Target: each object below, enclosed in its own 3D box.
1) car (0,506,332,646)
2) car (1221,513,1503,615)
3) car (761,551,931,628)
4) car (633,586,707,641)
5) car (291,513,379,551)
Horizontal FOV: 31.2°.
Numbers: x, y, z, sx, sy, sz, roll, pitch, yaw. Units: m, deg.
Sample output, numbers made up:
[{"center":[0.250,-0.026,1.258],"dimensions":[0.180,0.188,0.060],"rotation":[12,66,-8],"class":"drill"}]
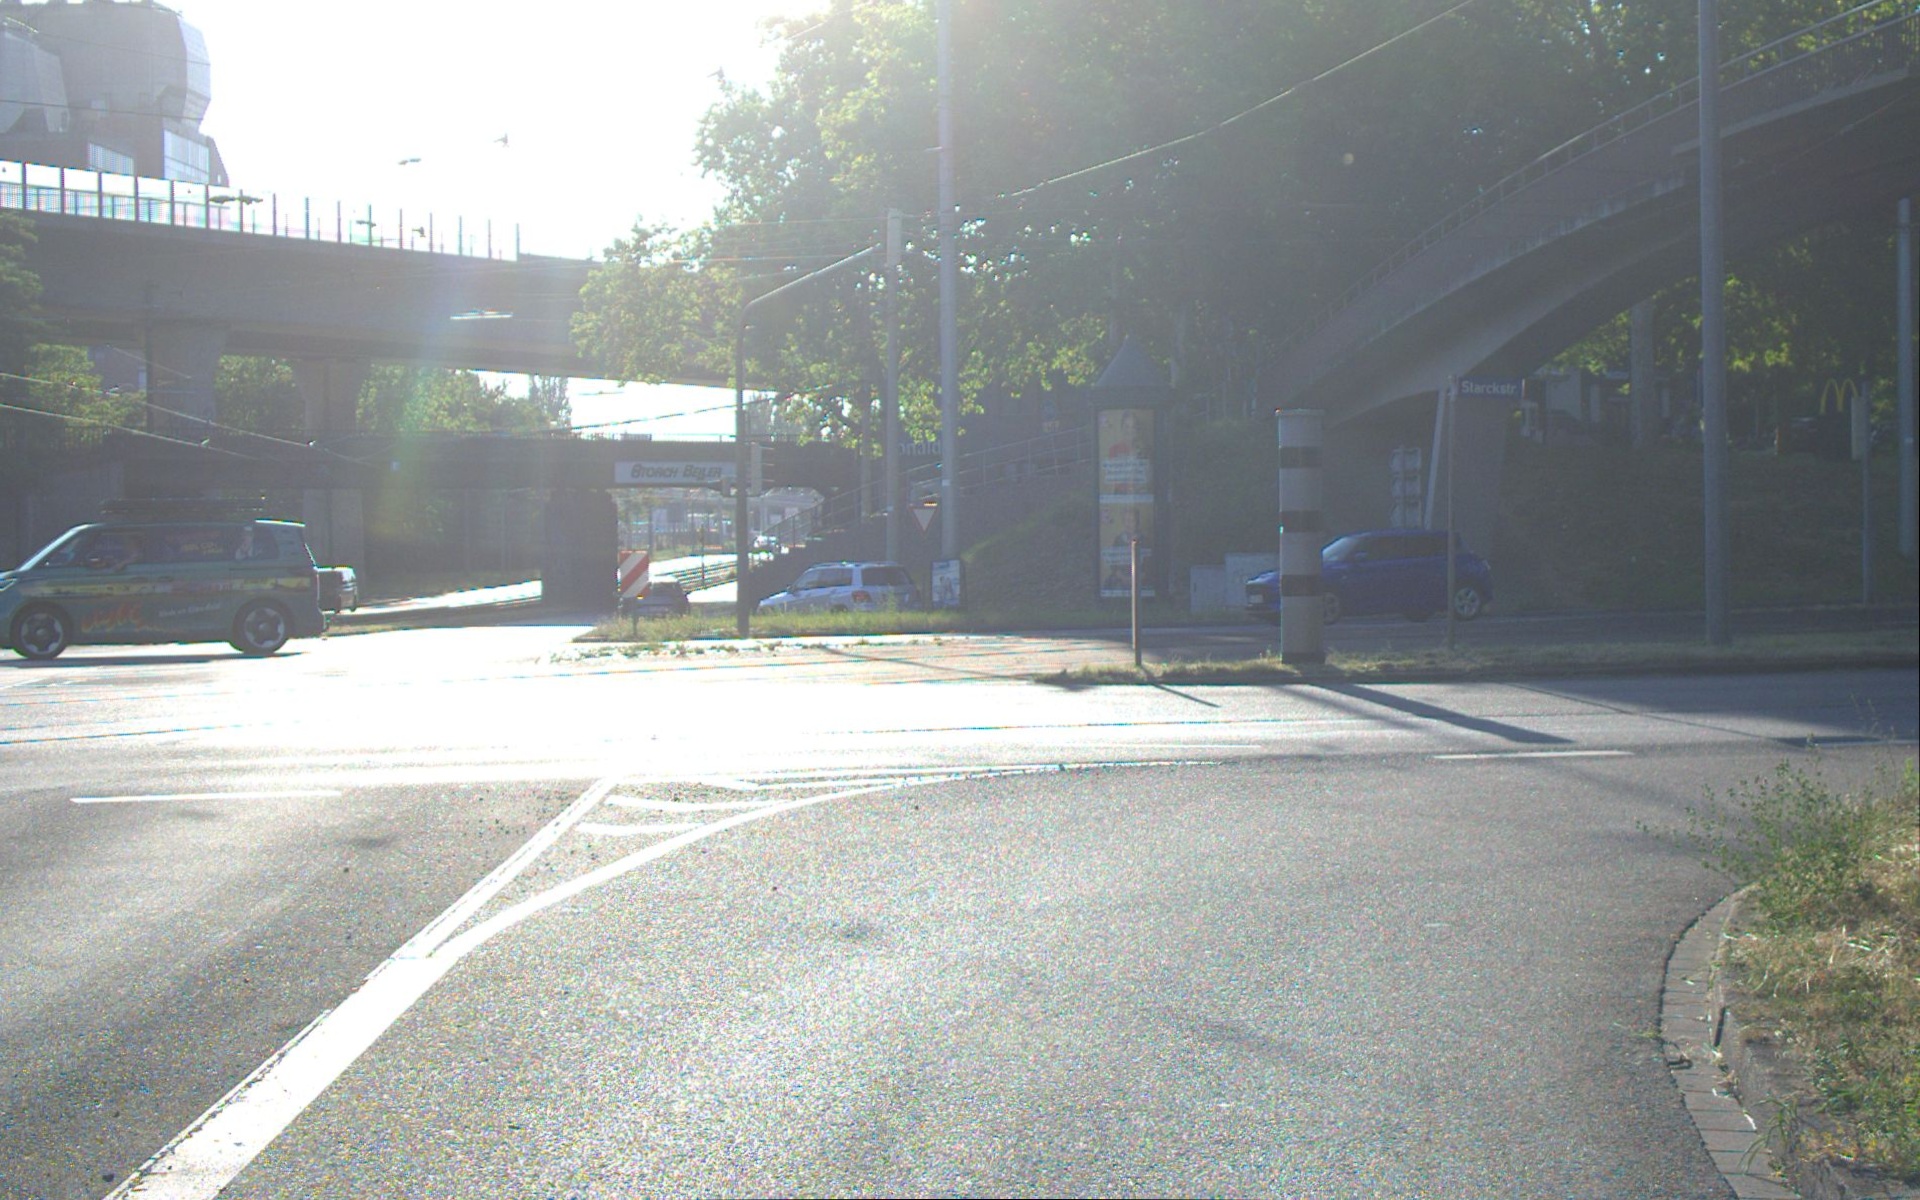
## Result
[{"center":[-11.281,-0.345,48.008],"dimensions":[4.688,1.899,2.001],"rotation":[0,1,-19],"class":"car"},{"center":[6.324,-0.568,54.132],"dimensions":[3.921,1.553,2.001],"rotation":[0,1,-22],"class":"car"},{"center":[-2.566,-0.257,76.305],"dimensions":[1.711,1.647,4.218],"rotation":[0,1,-36],"class":"car"},{"center":[-7.908,0.344,93.900],"dimensions":[1.691,1.417,4.151],"rotation":[0,1,0],"class":"car"},{"center":[-30.081,-3.283,165.570],"dimensions":[1.997,1.765,3.993],"rotation":[1,1,32],"class":"car"}]
